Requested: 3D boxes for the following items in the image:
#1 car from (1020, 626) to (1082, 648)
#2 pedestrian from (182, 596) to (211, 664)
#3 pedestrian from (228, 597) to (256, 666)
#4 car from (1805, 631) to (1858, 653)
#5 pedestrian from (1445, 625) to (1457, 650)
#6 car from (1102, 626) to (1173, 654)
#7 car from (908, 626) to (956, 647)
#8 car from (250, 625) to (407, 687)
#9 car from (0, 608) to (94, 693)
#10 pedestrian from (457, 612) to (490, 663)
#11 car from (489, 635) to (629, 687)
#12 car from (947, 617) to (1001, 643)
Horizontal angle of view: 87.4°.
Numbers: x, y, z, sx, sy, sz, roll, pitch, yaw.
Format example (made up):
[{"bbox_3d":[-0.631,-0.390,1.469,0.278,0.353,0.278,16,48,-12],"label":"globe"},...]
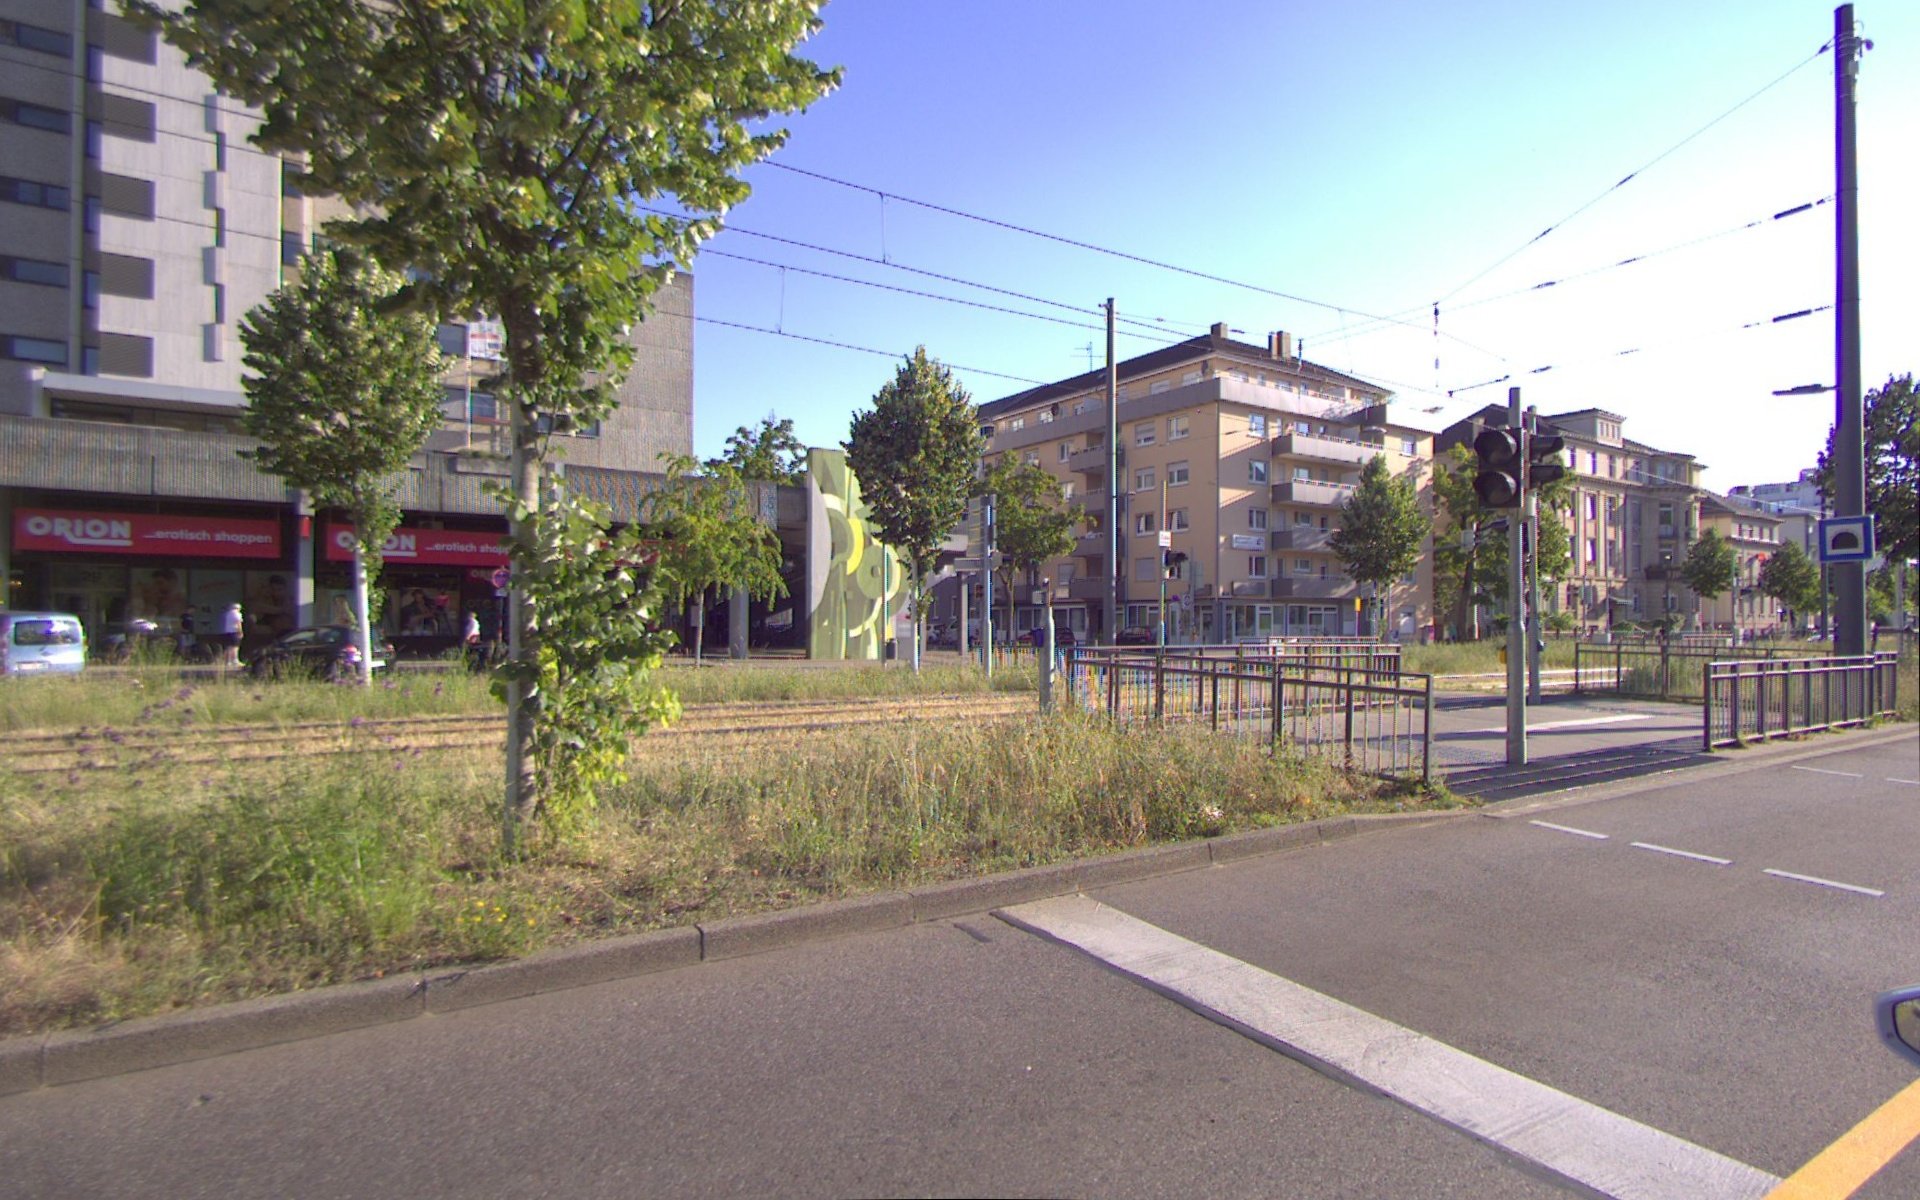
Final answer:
[{"bbox_3d":[5.808,2.362,64.771,1.979,1.321,3.964,1,-1,-33],"label":"car"},{"bbox_3d":[-23.369,0.915,30.762,0.648,2.040,0.544,1,-1,-34],"label":"pedestrian"},{"bbox_3d":[-21.728,0.947,30.398,0.648,2.040,0.544,1,-1,-34],"label":"pedestrian"},{"bbox_3d":[61.258,2.930,70.569,4.616,1.483,1.765,1,-1,-35],"label":"car"},{"bbox_3d":[31.480,2.378,64.410,0.444,1.576,0.516,1,-1,-35],"label":"pedestrian"},{"bbox_3d":[10.215,2.256,57.944,1.828,1.516,3.963,1,-1,-34],"label":"car"},{"bbox_3d":[-2.182,2.768,76.694,1.828,1.453,3.963,1,-1,-34],"label":"car"},{"bbox_3d":[-16.890,1.470,26.930,3.396,1.421,1.622,2,0,13],"label":"car"},{"bbox_3d":[-22.023,1.077,22.754,4.112,1.713,1.622,2,0,16],"label":"car"},{"bbox_3d":[-15.970,1.221,32.985,0.873,1.661,0.769,1,-1,-35],"label":"pedestrian"},{"bbox_3d":[-11.570,1.734,29.041,3.396,1.291,1.622,2,0,13],"label":"car"},{"bbox_3d":[0.968,2.104,71.614,1.979,1.766,3.964,1,-1,-33],"label":"car"}]
